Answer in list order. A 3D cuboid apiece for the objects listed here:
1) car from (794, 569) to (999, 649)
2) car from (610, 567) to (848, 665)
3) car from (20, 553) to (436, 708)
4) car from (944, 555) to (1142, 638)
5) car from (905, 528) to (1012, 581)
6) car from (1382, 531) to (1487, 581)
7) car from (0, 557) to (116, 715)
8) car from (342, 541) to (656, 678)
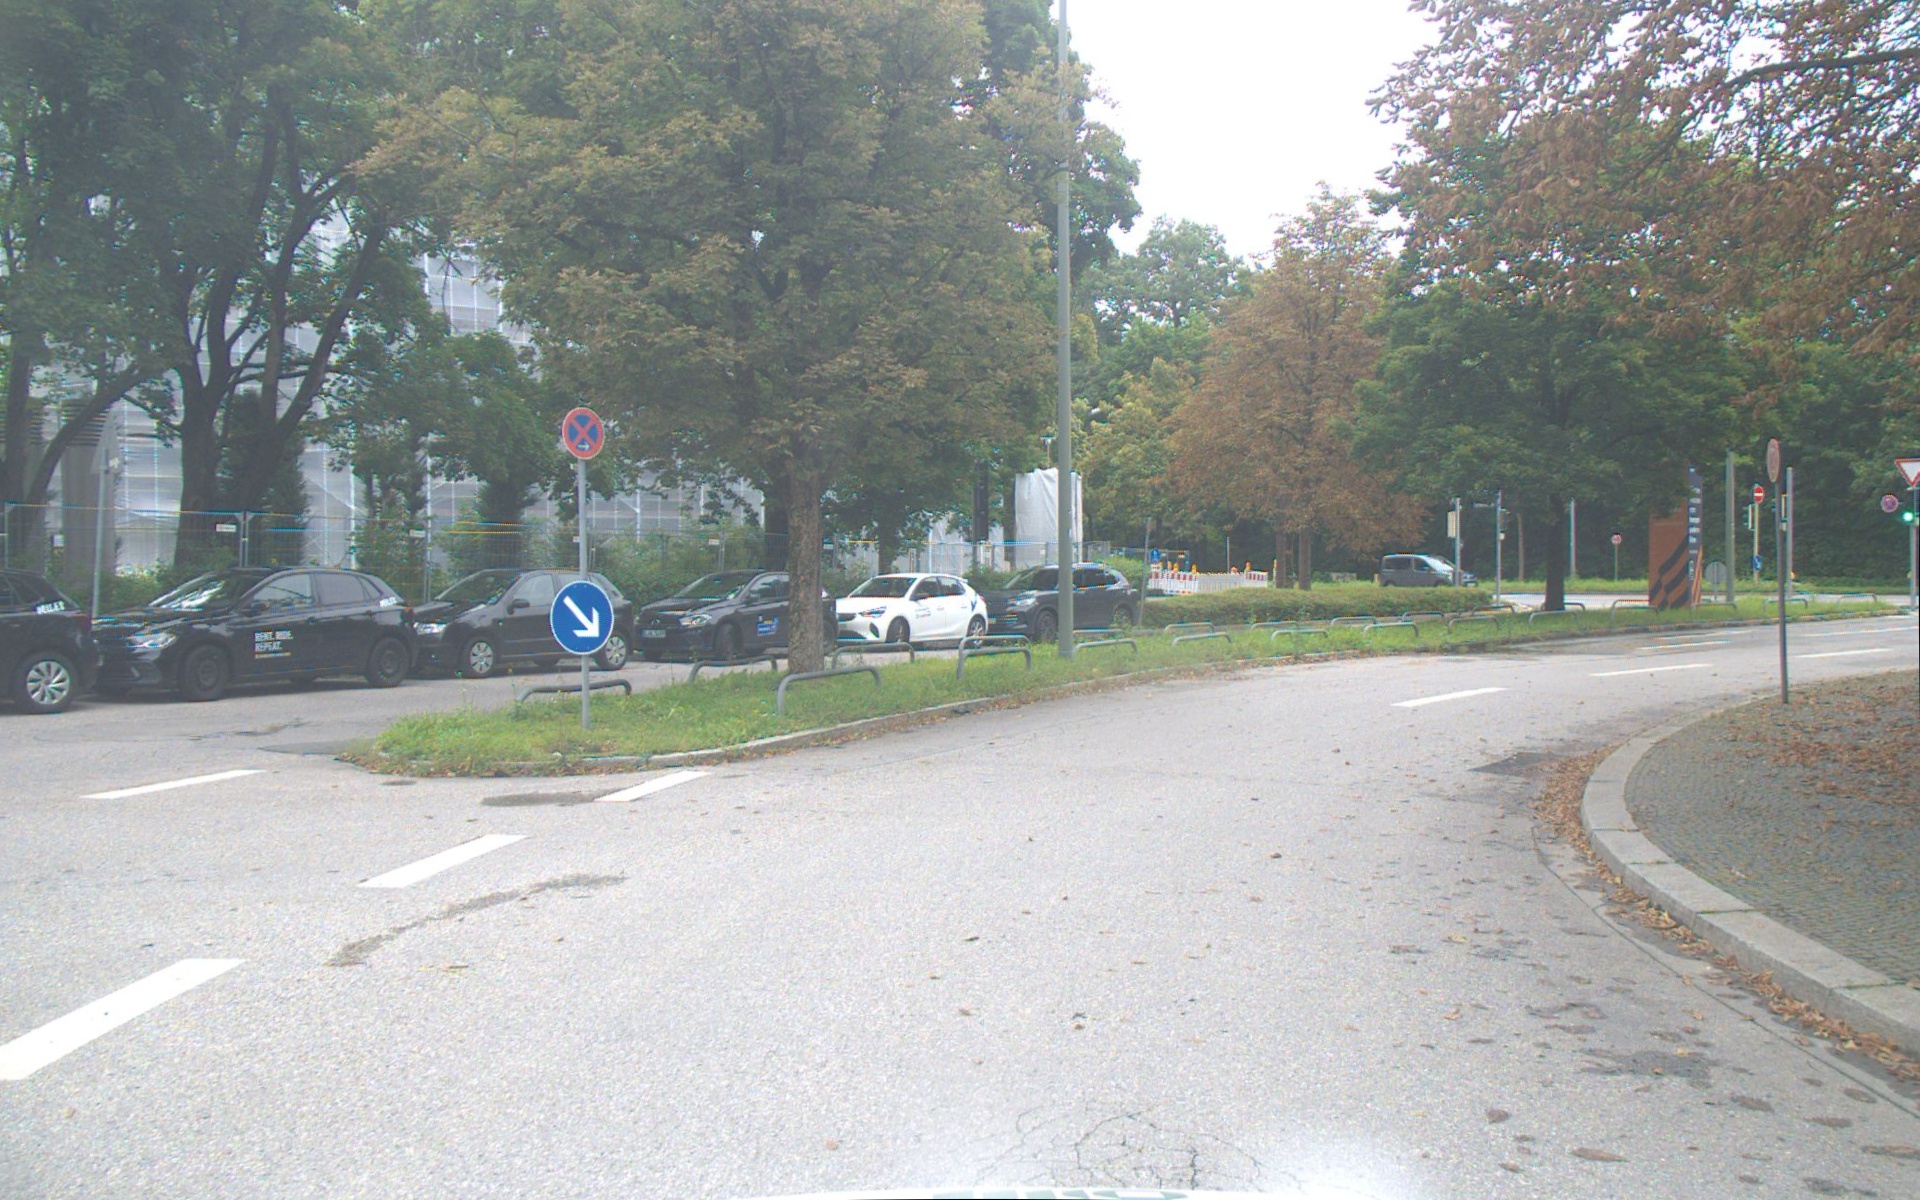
[{"bbox_3d":[-1.124,0.127,31.322,1.764,1.408,4.206,0,1,33],"label":"car"},{"bbox_3d":[-3.722,0.224,27.317,1.801,1.486,3.997,0,1,31],"label":"car"},{"bbox_3d":[-8.276,0.274,19.047,1.957,1.568,3.991,0,1,31],"label":"car"},{"bbox_3d":[1.809,-0.044,34.928,1.858,1.634,4.369,0,-1,42],"label":"car"},{"bbox_3d":[-0.185,-3.132,116.062,3.061,3.509,8.605,-1,1,-37],"label":"car"},{"bbox_3d":[20.230,-1.852,70.629,1.981,2.048,3.943,-1,1,-39],"label":"car"},{"bbox_3d":[-10.369,0.344,15.439,1.957,1.457,4.033,2,2,31],"label":"car"},{"bbox_3d":[-6.337,0.100,23.146,1.957,1.735,3.991,0,1,31],"label":"car"}]
